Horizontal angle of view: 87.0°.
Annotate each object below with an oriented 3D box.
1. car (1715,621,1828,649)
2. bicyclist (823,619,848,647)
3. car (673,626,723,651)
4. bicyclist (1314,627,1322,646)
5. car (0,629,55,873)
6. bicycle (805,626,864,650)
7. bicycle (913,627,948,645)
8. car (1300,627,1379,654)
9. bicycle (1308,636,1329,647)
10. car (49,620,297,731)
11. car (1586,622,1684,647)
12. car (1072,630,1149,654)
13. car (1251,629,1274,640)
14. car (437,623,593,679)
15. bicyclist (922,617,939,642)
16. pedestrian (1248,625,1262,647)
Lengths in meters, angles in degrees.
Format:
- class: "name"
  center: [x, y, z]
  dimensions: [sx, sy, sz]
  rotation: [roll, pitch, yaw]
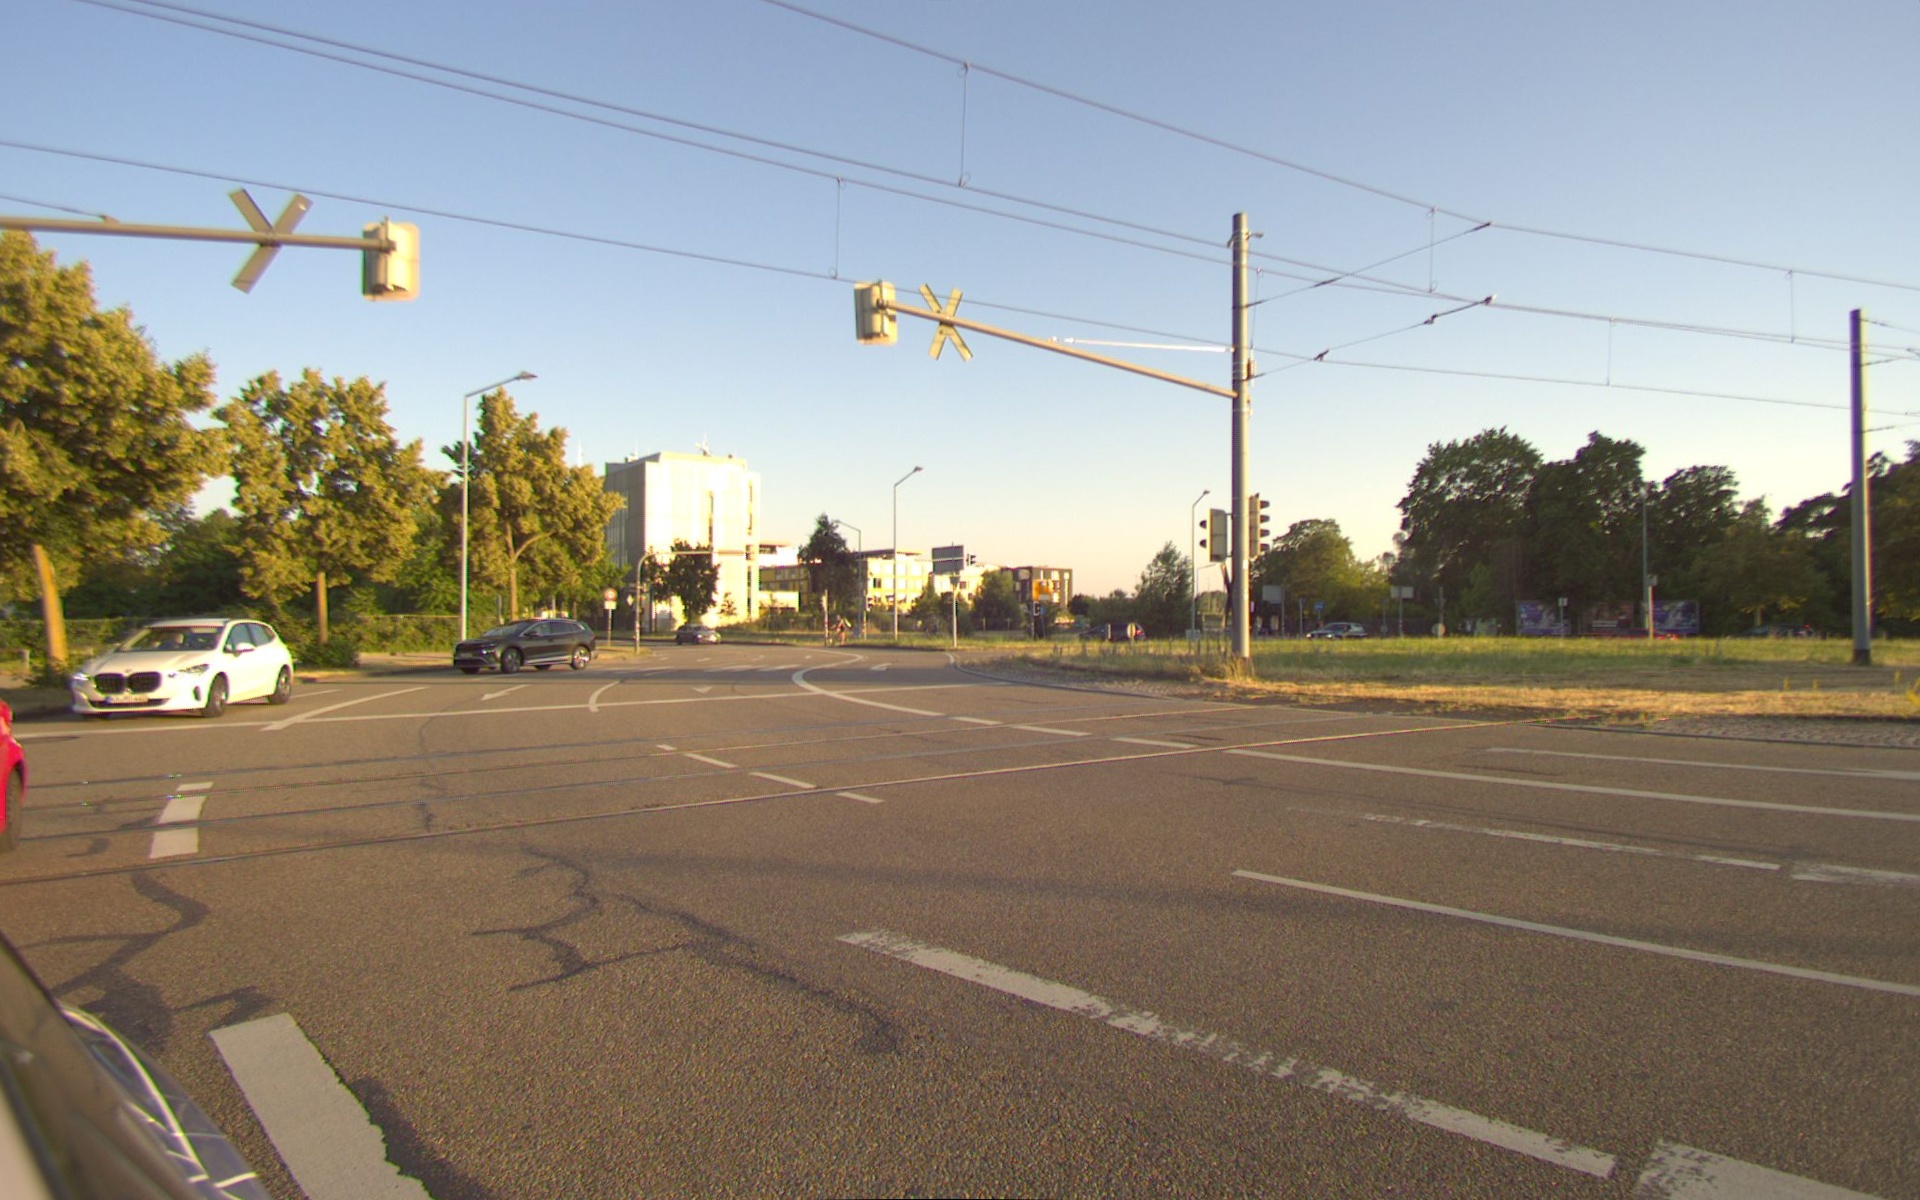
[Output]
- class: "car"
  center: [43.605, 1.866, 54.473]
  dimensions: [1.911, 1.443, 4.334]
  rotation: [1, -2, -23]
- class: "bicyclist"
  center: [-7.692, 2.024, 62.355]
  dimensions: [1.393, 1.762, 1.127]
  rotation: [0, -1, -14]
- class: "car"
  center: [-18.690, 2.717, 72.026]
  dimensions: [1.843, 1.637, 4.200]
  rotation: [1, -1, -39]
- class: "bicyclist"
  center: [26.210, 2.664, 74.003]
  dimensions: [0.442, 1.408, 0.473]
  rotation: [0, -2, 7]
- class: "car"
  center: [-6.060, 0.871, 5.091]
  dimensions: [1.666, 1.432, 4.222]
  rotation: [0, -2, -34]
- class: "bicycle"
  center: [-7.733, 2.318, 62.332]
  dimensions: [3.480, 1.406, 1.127]
  rotation: [0, -1, -13]
- class: "bicycle"
  center: [-2.016, 2.448, 69.096]
  dimensions: [2.288, 1.188, 0.813]
  rotation: [0, -1, -21]
- class: "car"
  center: [22.468, 2.385, 59.877]
  dimensions: [4.181, 1.512, 1.848]
  rotation: [0, -1, -21]
- class: "bicycle"
  center: [26.204, 3.016, 74.008]
  dimensions: [1.402, 0.797, 0.473]
  rotation: [0, -2, 7]
- class: "car"
  center: [-12.790, 1.157, 16.800]
  dimensions: [1.730, 1.570, 4.226]
  rotation: [0, -2, -15]
- class: "car"
  center: [40.815, 2.088, 61.281]
  dimensions: [1.911, 1.443, 4.610]
  rotation: [1, -2, -23]
- class: "car"
  center: [9.300, 2.601, 62.555]
  dimensions: [4.374, 1.443, 1.930]
  rotation: [-1, -2, 23]
- class: "car"
  center: [41.822, 4.802, 140.080]
  dimensions: [1.919, 1.443, 4.399]
  rotation: [0, -2, 2]
- class: "car"
  center: [-13.363, 1.499, 30.660]
  dimensions: [1.818, 1.570, 4.179]
  rotation: [-1, -2, 25]
- class: "bicyclist"
  center: [-2.019, 2.006, 69.096]
  dimensions: [0.983, 1.645, 0.813]
  rotation: [0, -1, -21]
- class: "pedestrian"
  center: [22.871, 2.775, 78.476]
  dimensions: [0.721, 1.714, 0.877]
  rotation: [-2, -3, 43]
